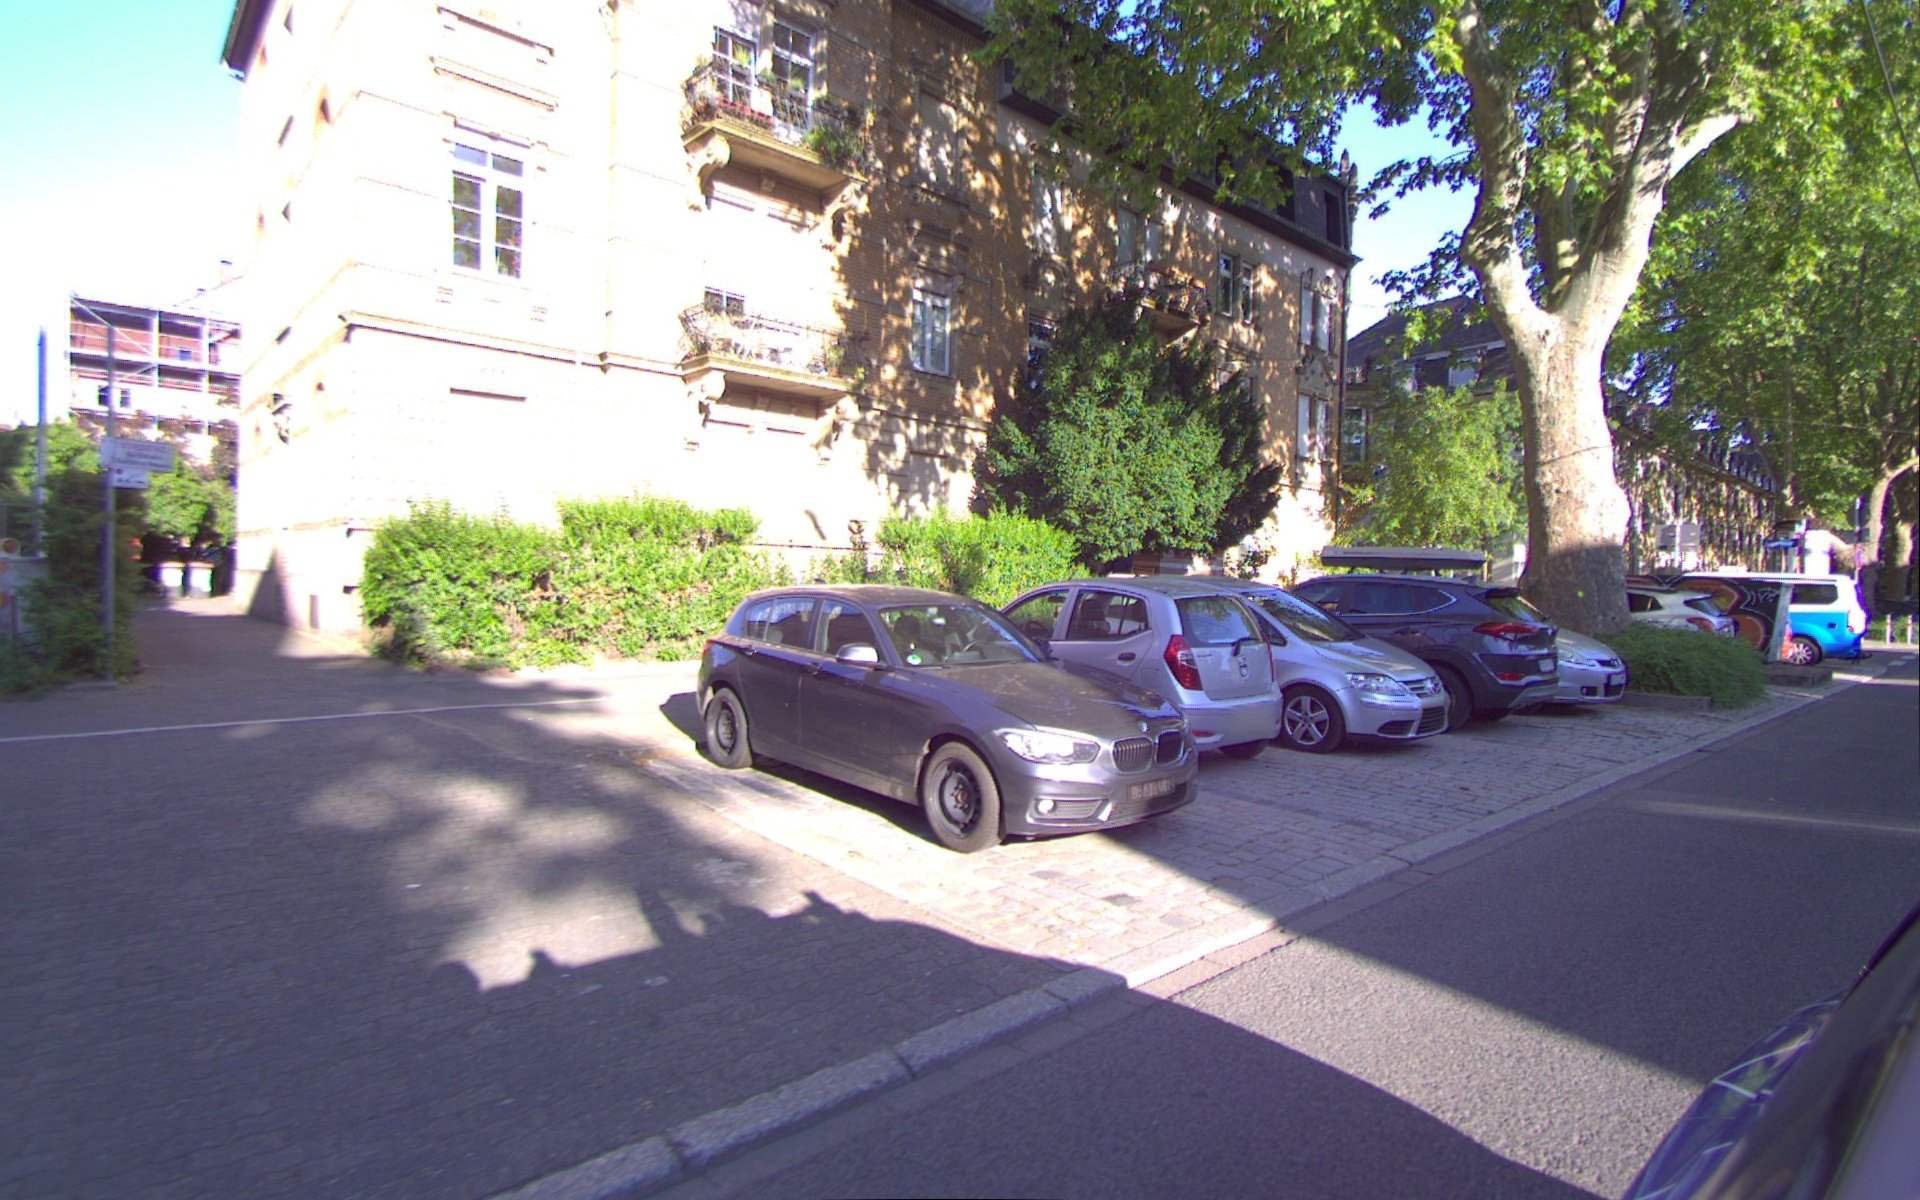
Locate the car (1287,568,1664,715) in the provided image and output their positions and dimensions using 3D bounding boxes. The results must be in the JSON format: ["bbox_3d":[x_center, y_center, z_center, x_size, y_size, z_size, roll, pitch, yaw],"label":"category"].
[{"bbox_3d":[6.825,0.421,13.792,1.785,1.639,4.210,0,2,-39],"label":"car"}]

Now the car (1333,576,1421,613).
[{"bbox_3d":[19.014,-0.262,46.067,3.921,1.602,1.732,0,2,-32],"label":"car"}]

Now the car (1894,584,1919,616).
[{"bbox_3d":[63.875,0.078,65.590,1.858,2.038,4.638,1,2,-39],"label":"car"}]

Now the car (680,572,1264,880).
[{"bbox_3d":[-0.198,0.581,7.191,1.786,1.465,4.207,0,2,-42],"label":"car"}]

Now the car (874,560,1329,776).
[{"bbox_3d":[1.106,0.434,9.661,1.785,1.575,4.210,0,2,-39],"label":"car"}]

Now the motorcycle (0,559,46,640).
[{"bbox_3d":[-14.366,-0.046,15.081,0.792,1.116,2.386,0,2,-35],"label":"motorcycle"}]

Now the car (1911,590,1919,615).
[{"bbox_3d":[68.130,0.289,68.961,1.858,1.661,4.613,1,2,-39],"label":"car"}]

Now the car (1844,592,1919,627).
[{"bbox_3d":[45.212,0.510,48.059,1.858,1.513,4.613,1,2,-39],"label":"car"}]

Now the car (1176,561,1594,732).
[{"bbox_3d":[4.883,0.393,12.060,1.848,1.639,4.204,0,2,-44],"label":"car"}]

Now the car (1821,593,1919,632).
[{"bbox_3d":[40.716,0.547,44.085,1.858,1.513,4.613,1,2,-39],"label":"car"}]

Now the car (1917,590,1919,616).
[{"bbox_3d":[70.108,0.321,70.631,1.858,1.814,4.613,1,2,-39],"label":"car"}]

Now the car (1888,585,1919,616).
[{"bbox_3d":[59.515,0.123,61.286,1.858,1.814,4.613,1,2,-39],"label":"car"}]

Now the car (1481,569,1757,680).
[{"bbox_3d":[11.708,0.348,18.143,1.760,1.638,3.787,0,3,-43],"label":"car"}]

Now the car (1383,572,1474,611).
[{"bbox_3d":[20.335,-0.353,43.895,3.921,1.602,1.732,0,2,-32],"label":"car"}]

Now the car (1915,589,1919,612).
[{"bbox_3d":[75.027,0.171,75.997,1.858,1.736,4.613,1,2,-39],"label":"car"}]

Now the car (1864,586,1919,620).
[{"bbox_3d":[50.125,0.215,52.443,1.858,1.661,4.613,1,2,-39],"label":"car"}]

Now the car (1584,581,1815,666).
[{"bbox_3d":[16.068,0.440,22.114,1.760,1.506,3.787,0,3,-43],"label":"car"}]

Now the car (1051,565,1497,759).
[{"bbox_3d":[3.076,0.462,10.697,1.785,1.593,4.210,0,2,-39],"label":"car"}]

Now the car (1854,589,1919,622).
[{"bbox_3d":[46.895,0.317,49.368,1.858,1.513,4.613,1,2,-39],"label":"car"}]

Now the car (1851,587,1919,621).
[{"bbox_3d":[48.497,0.256,51.363,1.858,1.585,4.613,1,2,-39],"label":"car"}]

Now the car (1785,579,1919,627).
[{"bbox_3d":[35.376,0.103,39.389,1.860,1.651,4.808,1,2,-41],"label":"car"}]

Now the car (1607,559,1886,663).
[{"bbox_3d":[18.294,0.151,23.710,2.158,2.038,4.851,0,3,-44],"label":"car"}]
